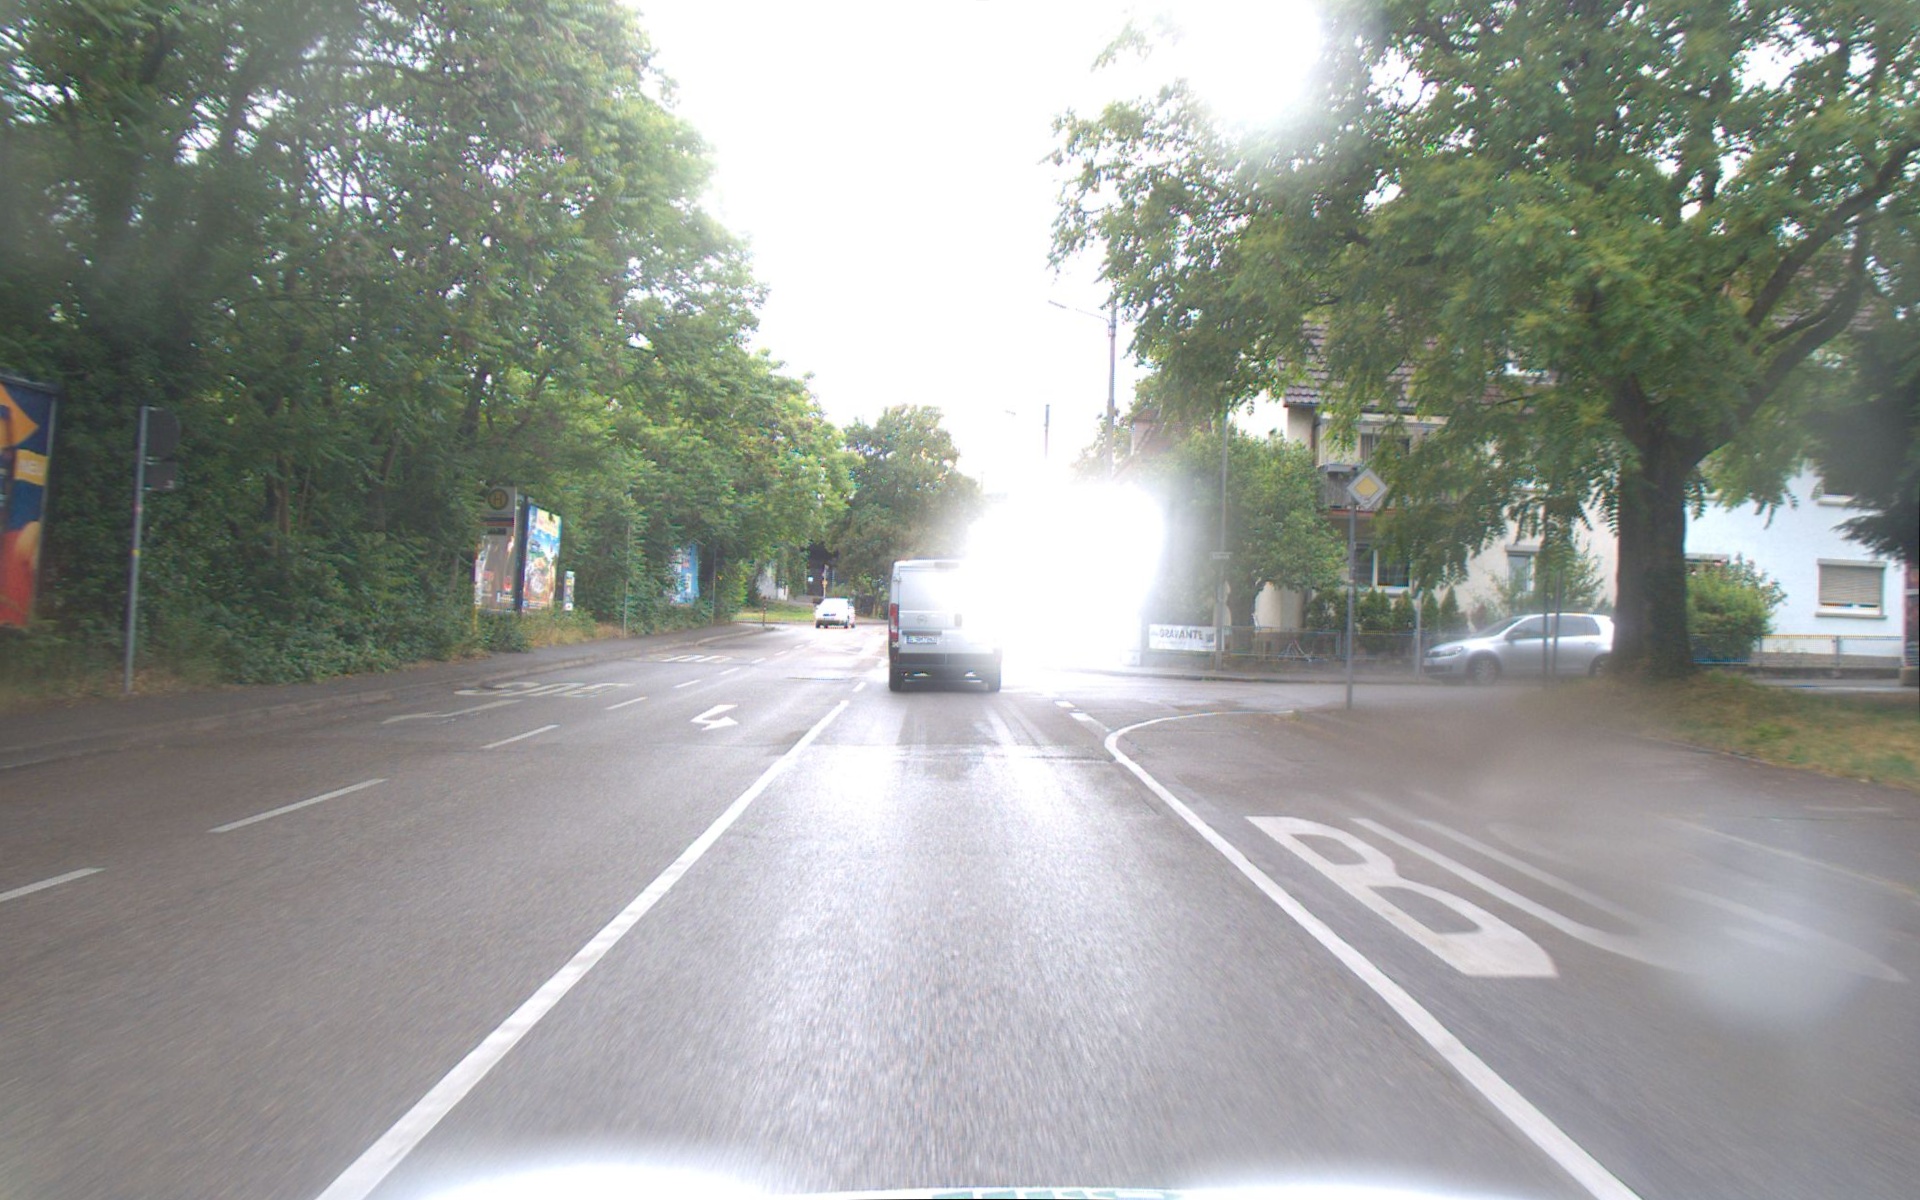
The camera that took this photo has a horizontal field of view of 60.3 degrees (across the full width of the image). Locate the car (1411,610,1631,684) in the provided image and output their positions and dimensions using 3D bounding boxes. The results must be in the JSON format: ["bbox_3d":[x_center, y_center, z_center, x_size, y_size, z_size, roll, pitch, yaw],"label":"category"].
[{"bbox_3d":[11.367,0.964,33.656,3.908,1.448,1.703,1,-2,-4],"label":"car"}]

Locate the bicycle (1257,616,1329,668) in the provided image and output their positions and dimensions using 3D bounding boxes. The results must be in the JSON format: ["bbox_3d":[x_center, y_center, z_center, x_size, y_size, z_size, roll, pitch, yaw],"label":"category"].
[{"bbox_3d":[7.542,0.952,37.446,1.538,1.134,0.457,1,0,3],"label":"bicycle"}]

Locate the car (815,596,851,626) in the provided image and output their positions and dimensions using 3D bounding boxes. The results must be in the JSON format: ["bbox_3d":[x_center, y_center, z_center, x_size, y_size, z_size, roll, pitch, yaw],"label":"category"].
[{"bbox_3d":[-6.322,0.536,82.605,1.620,1.442,3.934,0,0,-1],"label":"car"}]

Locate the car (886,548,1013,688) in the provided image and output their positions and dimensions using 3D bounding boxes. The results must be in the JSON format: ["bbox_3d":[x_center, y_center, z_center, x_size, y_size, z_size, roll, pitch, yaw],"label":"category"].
[{"bbox_3d":[-0.241,0.346,30.701,2.103,2.323,5.061,2,-1,-2],"label":"car"}]

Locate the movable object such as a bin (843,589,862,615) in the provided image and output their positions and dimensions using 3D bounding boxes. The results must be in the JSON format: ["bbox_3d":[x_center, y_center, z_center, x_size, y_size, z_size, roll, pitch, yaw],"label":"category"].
[{"bbox_3d":[-7.109,0.103,109.140,0.921,1.590,1.131,8,0,4],"label":"movable object such as a bin"}]

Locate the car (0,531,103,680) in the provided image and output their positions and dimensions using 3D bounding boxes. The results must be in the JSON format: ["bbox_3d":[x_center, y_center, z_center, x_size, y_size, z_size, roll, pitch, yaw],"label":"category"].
[{"bbox_3d":[-14.109,-0.022,23.186,3.918,1.971,1.994,4,0,34],"label":"car"}]

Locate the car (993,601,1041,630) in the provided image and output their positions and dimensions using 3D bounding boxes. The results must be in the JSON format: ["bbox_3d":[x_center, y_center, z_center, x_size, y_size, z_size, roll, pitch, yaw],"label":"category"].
[{"bbox_3d":[3.317,0.916,95.278,1.729,1.537,3.756,3,0,18],"label":"car"}]
